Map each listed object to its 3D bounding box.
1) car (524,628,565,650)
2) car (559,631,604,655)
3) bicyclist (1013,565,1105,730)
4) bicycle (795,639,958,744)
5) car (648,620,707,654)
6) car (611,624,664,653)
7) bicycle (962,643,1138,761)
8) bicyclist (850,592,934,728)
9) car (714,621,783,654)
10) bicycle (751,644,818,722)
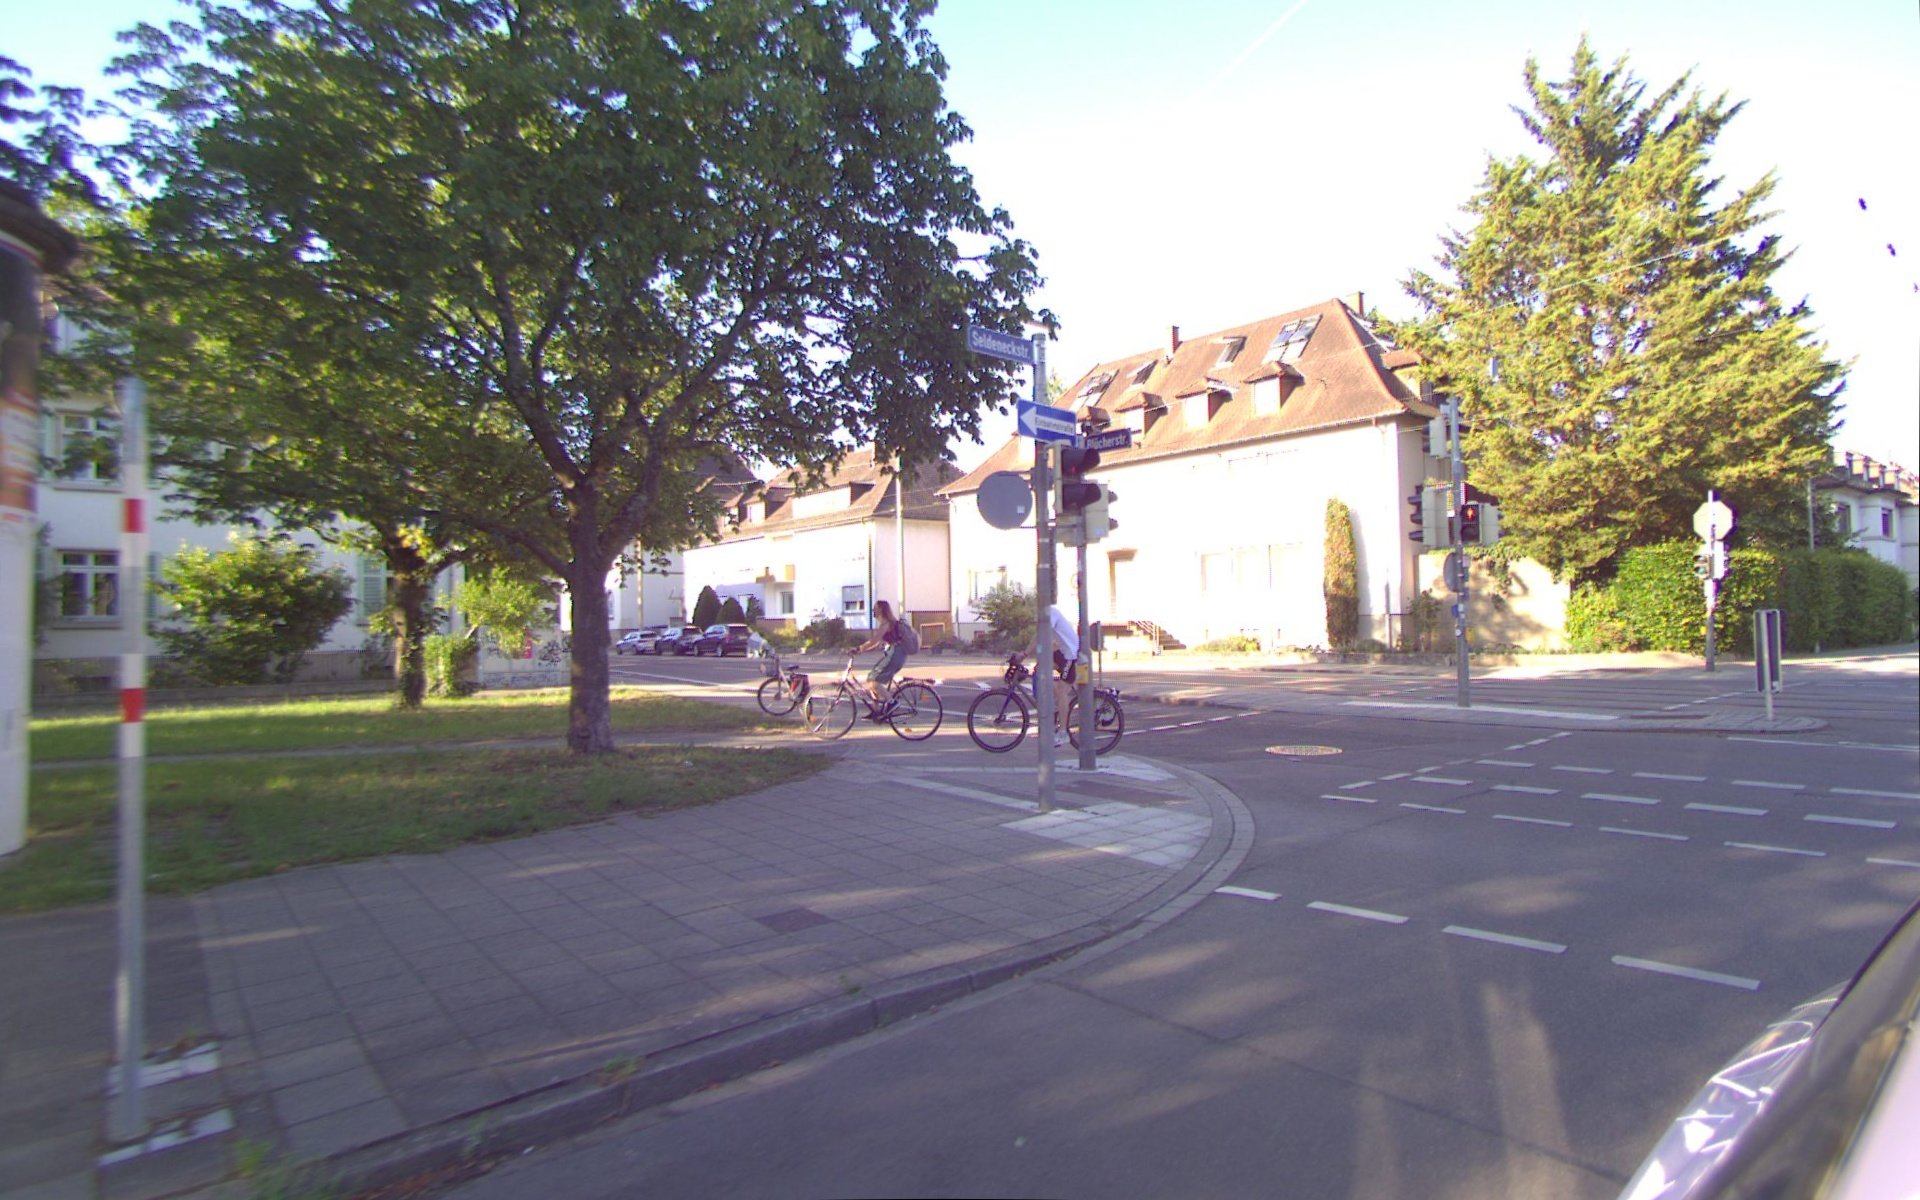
[{"bbox_3d":[-32.858,3.106,79.974,1.964,1.483,3.994,-1,-4,-38],"label":"car"},{"bbox_3d":[-28.172,3.210,75.276,1.964,1.648,3.994,-2,-2,-38],"label":"car"},{"bbox_3d":[1.098,0.538,11.476,0.877,1.755,0.816,-3,-3,2],"label":"bicyclist"},{"bbox_3d":[-1.013,1.107,12.470,1.928,1.199,0.492,1,-2,4],"label":"bicycle"},{"bbox_3d":[-16.671,2.148,59.586,1.964,1.906,3.995,1,-2,-38],"label":"car"},{"bbox_3d":[-20.763,2.439,65.004,1.964,1.792,3.995,1,-2,-38],"label":"car"},{"bbox_3d":[0.991,1.137,11.454,1.870,1.199,0.574,-3,-3,1],"label":"bicycle"},{"bbox_3d":[-0.826,0.736,12.497,0.877,1.583,0.713,-4,-3,3],"label":"bicyclist"},{"bbox_3d":[-11.163,2.003,53.298,1.964,1.616,3.995,-1,-2,-38],"label":"car"},{"bbox_3d":[-2.696,1.239,15.444,0.458,1.103,1.528,2,-3,-31],"label":"bicycle"}]
